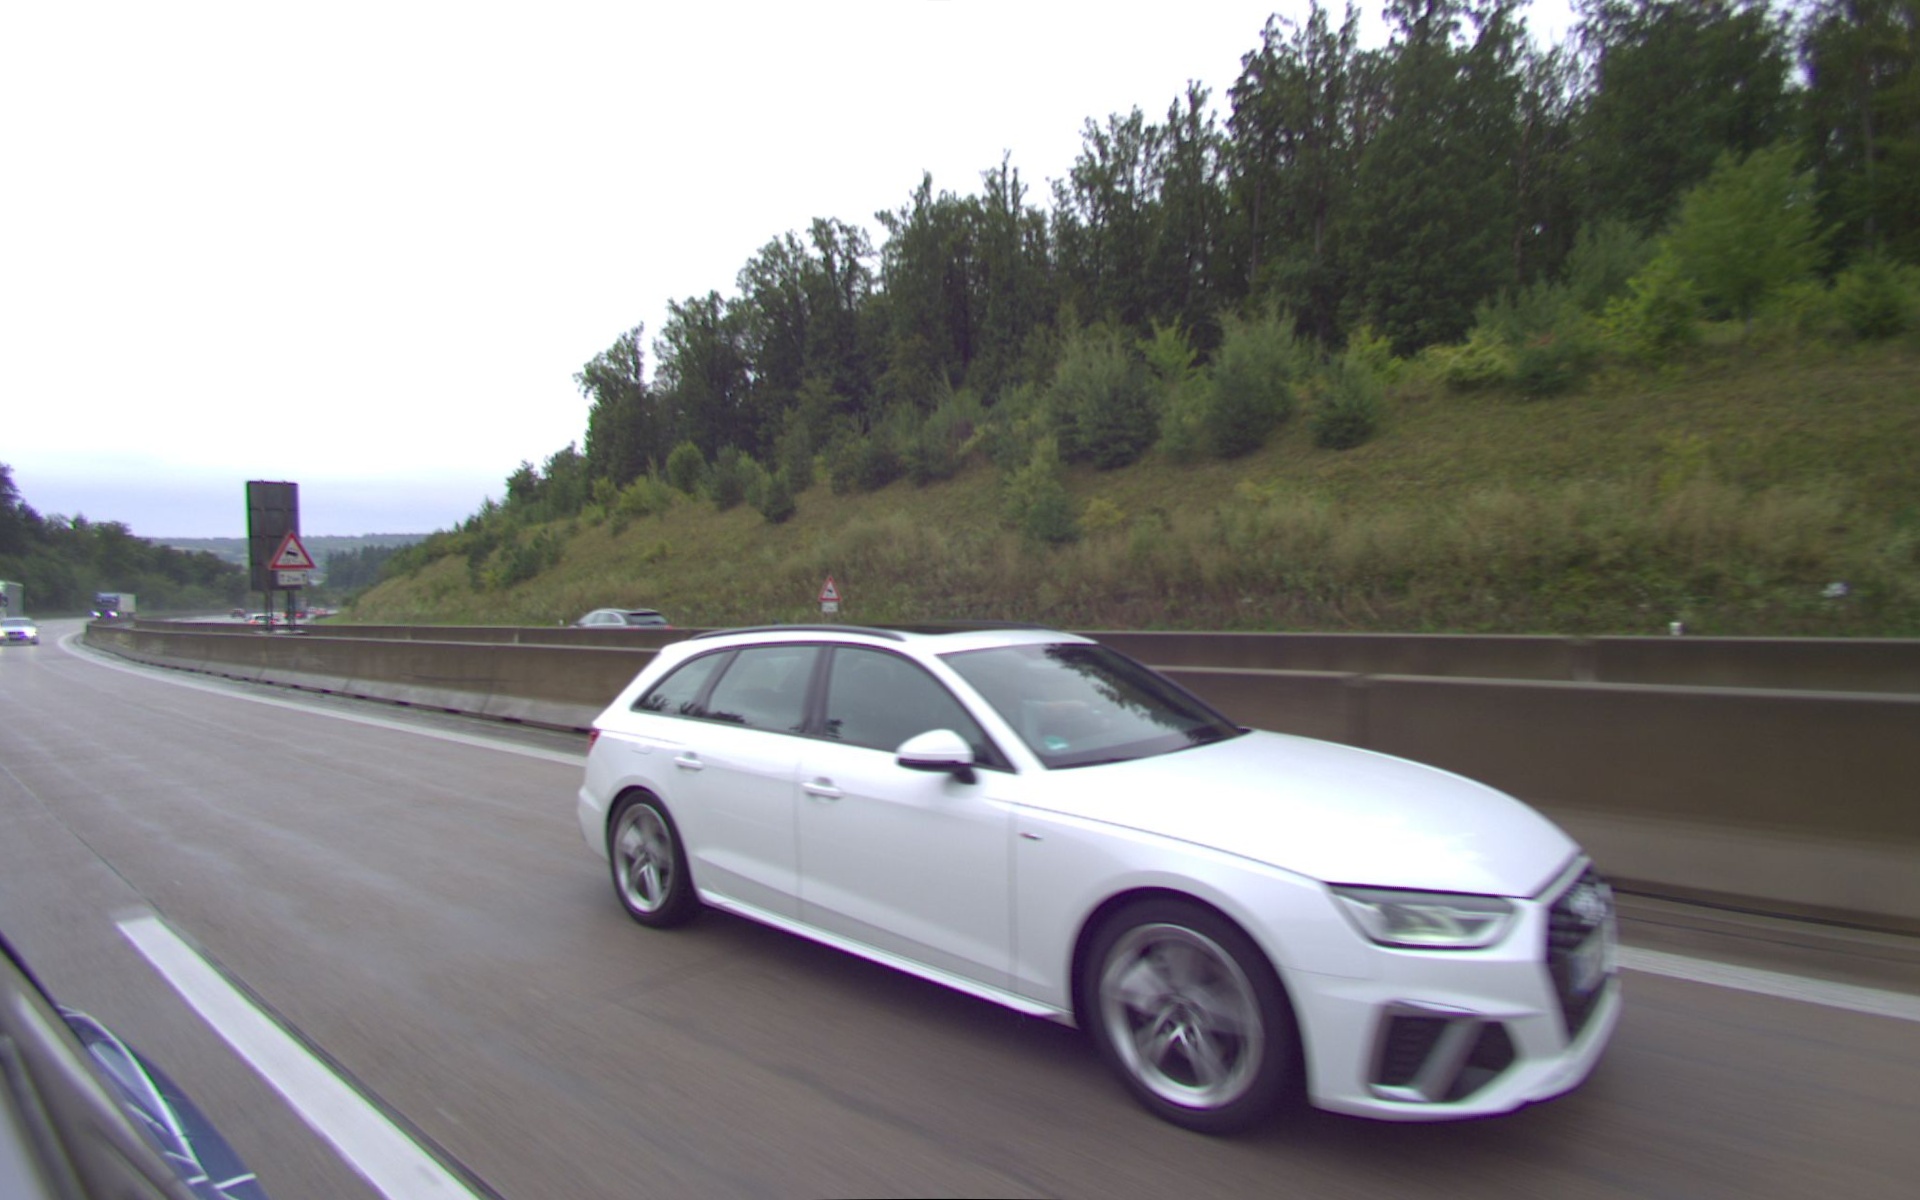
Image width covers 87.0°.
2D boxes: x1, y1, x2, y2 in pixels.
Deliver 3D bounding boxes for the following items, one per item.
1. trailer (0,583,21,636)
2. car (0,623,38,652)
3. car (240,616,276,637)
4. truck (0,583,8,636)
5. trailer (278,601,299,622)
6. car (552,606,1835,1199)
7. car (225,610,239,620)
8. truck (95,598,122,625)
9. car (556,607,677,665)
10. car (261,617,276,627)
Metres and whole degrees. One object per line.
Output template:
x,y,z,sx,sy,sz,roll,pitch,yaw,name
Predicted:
-79.732,0.898,83.305,2.646,4.071,13.728,-2,0,-39,trailer
-49.914,1.952,53.371,1.823,1.494,4.455,0,-1,-42,car
-53.138,1.992,76.595,1.755,1.529,4.005,0,-1,-41,car
-75.172,0.784,77.606,2.687,4.071,5.763,-2,0,-39,truck
-124.545,2.116,187.683,2.868,3.918,11.062,0,-1,-36,trailer
0.304,0.760,4.150,4.934,1.418,1.694,-1,-1,42,car
-128.758,2.701,179.051,1.709,1.790,4.767,1,-1,-40,car
-134.638,1.891,160.105,2.694,4.183,8.641,0,-1,-36,truck
-10.491,1.041,30.785,3.999,1.651,1.758,-1,-1,42,car
-108.429,3.404,158.641,1.708,1.588,4.252,1,-1,-38,car
